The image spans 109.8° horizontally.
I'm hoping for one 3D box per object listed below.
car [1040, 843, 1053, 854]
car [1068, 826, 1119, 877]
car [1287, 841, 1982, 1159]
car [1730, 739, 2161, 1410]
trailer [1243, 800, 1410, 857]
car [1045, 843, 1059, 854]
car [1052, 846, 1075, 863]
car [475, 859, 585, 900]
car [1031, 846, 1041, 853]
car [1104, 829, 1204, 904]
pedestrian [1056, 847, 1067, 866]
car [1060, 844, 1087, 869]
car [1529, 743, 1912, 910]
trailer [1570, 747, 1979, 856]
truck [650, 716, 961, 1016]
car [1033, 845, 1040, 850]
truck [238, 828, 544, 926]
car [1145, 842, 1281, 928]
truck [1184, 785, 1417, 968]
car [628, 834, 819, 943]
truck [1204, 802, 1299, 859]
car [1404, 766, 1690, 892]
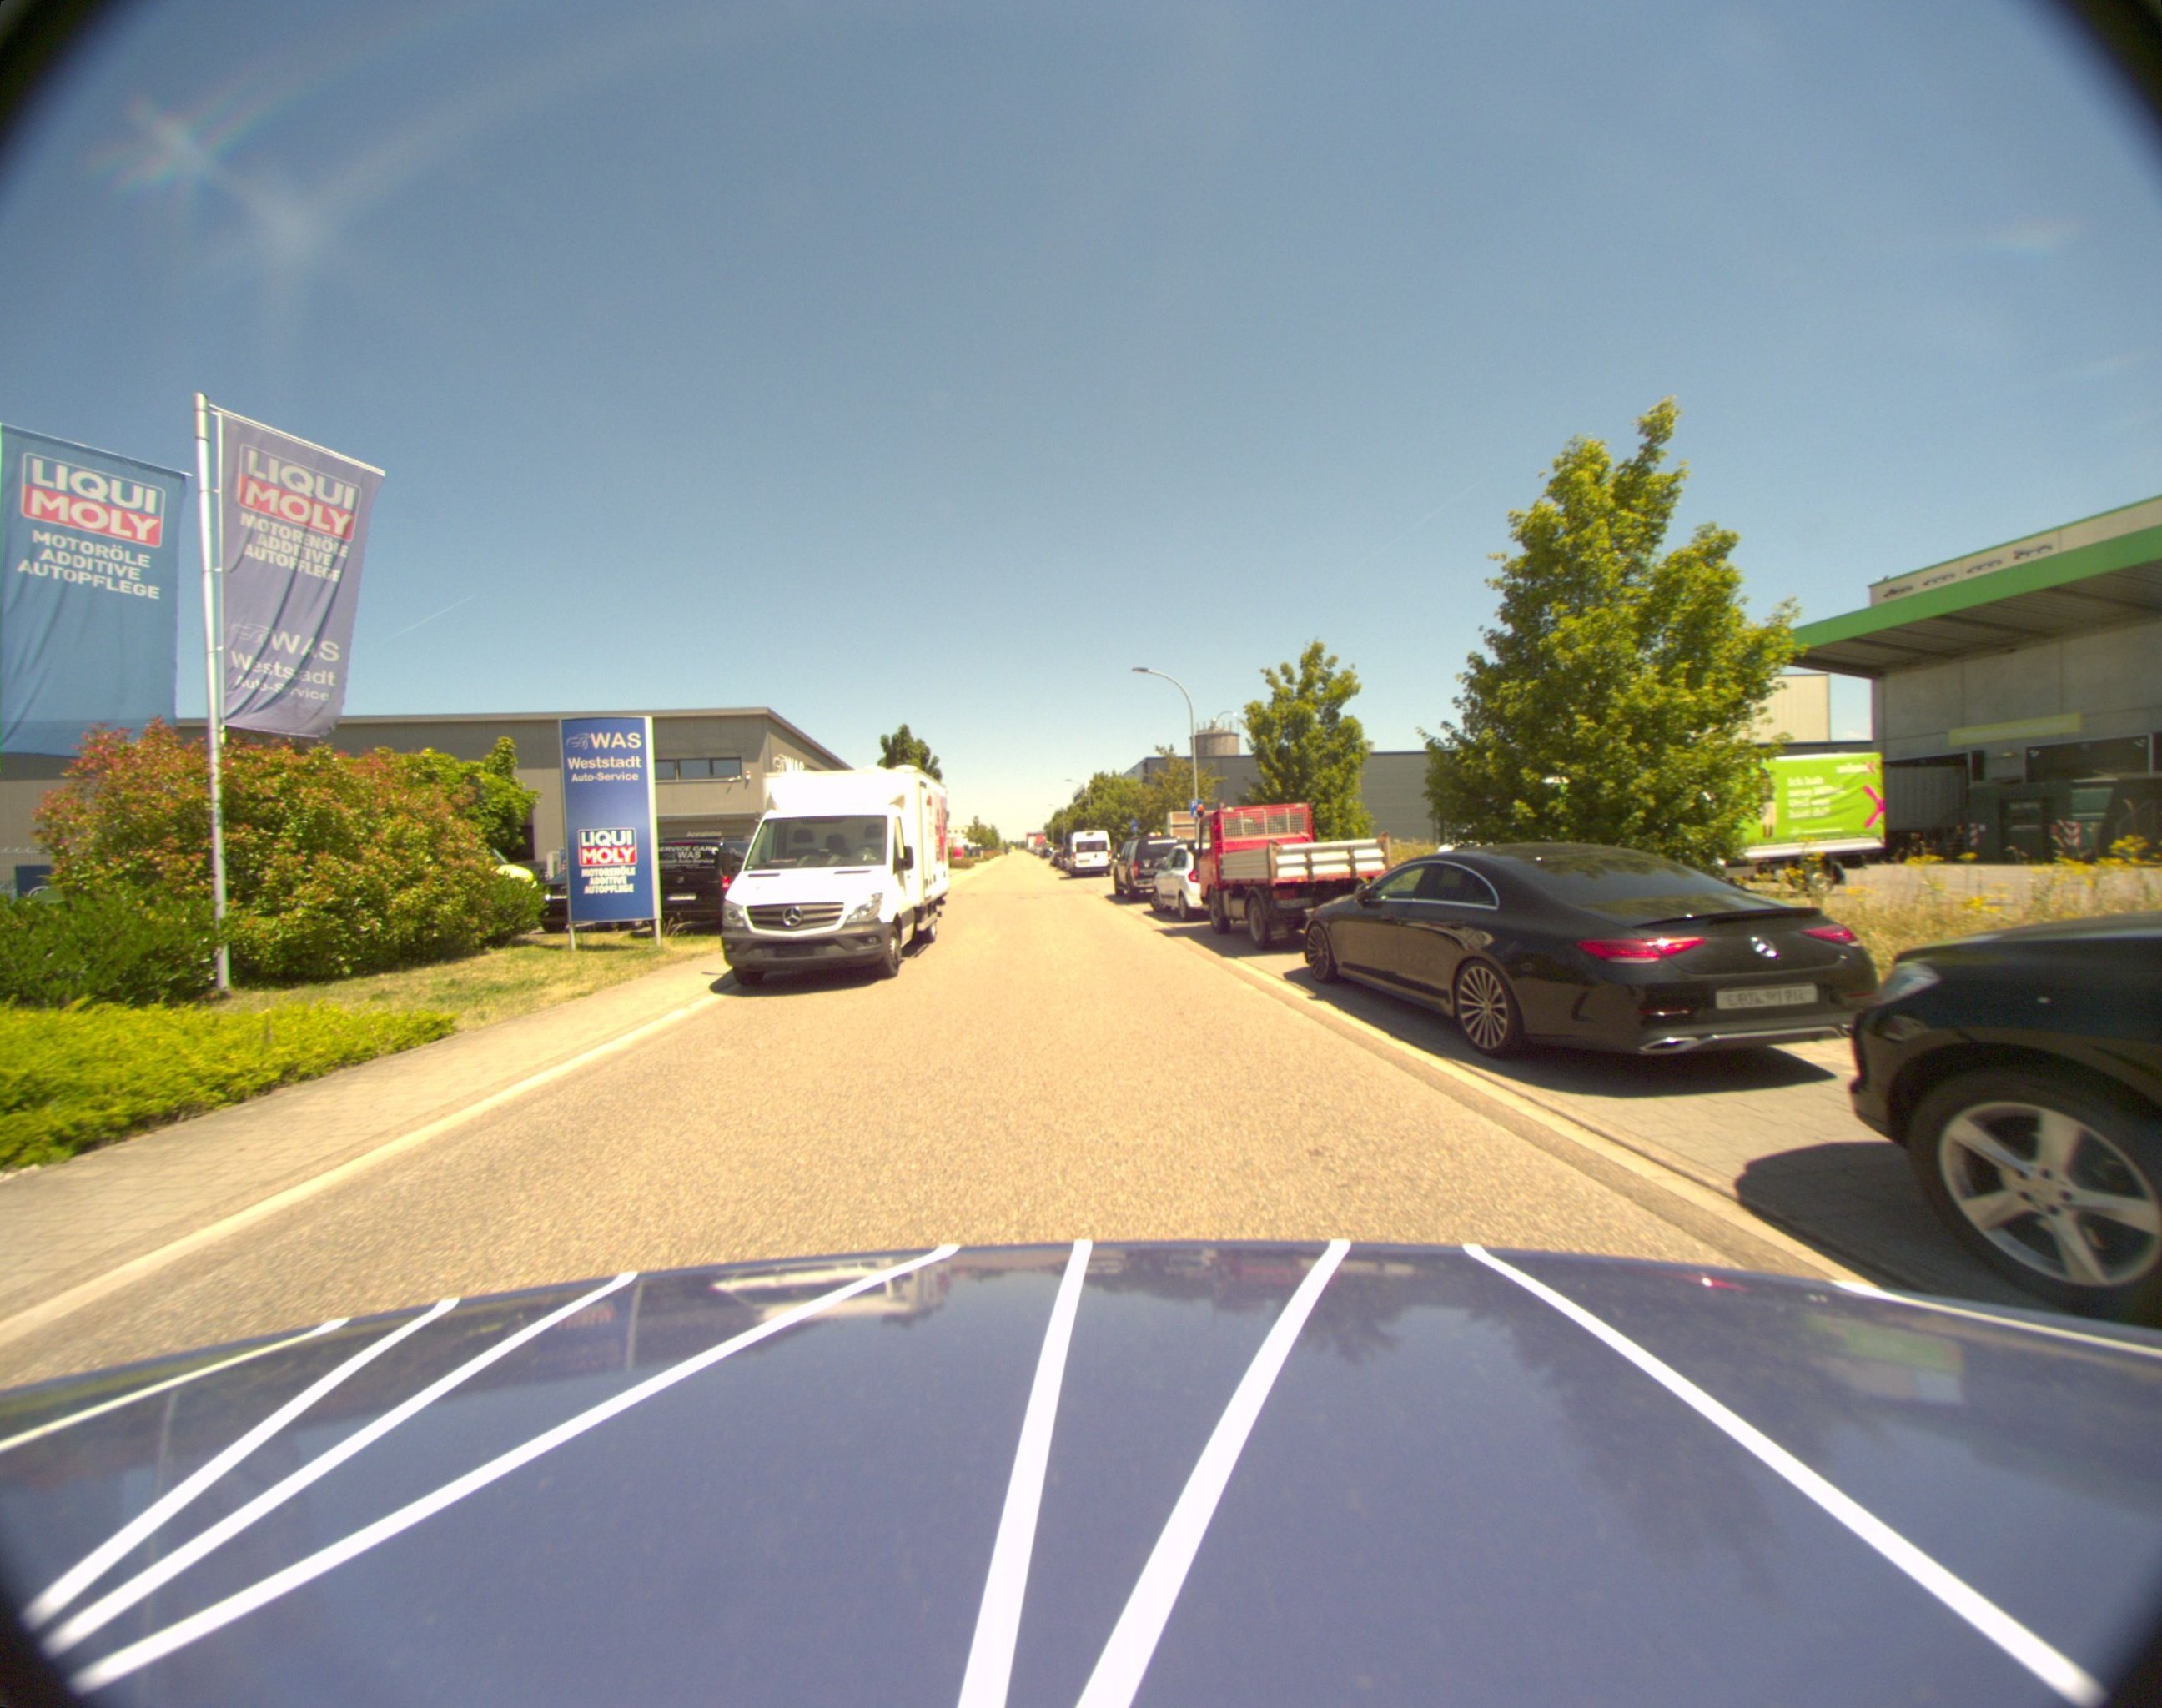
[{"bbox_3d":[-5.709,-0.951,126.043,1.799,1.701,3.828,-4,1,-5],"label":"car"},{"bbox_3d":[0.640,-0.176,43.719,2.329,2.584,6.082,-4,1,-3],"label":"car"},{"bbox_3d":[3.426,0.681,6.132,1.857,1.435,4.750,-4,1,-4],"label":"car"},{"bbox_3d":[3.782,0.539,0.695,1.856,1.748,4.984,-4,1,-4],"label":"car"},{"bbox_3d":[19.009,-1.989,58.674,12.544,3.948,3.152,-2,1,-16],"label":"trailer"},{"bbox_3d":[-4.417,-0.852,115.420,1.799,1.638,3.828,-4,1,-5],"label":"car"},{"bbox_3d":[-1.724,0.031,72.812,1.799,1.477,4.449,-4,1,-5],"label":"car"},{"bbox_3d":[-20.251,0.878,28.097,1.590,1.298,3.568,-1,1,-3],"label":"car"},{"bbox_3d":[-9.263,-0.914,156.797,1.799,1.319,3.828,-4,1,-5],"label":"car"},{"bbox_3d":[2.019,0.300,22.872,1.979,1.890,5.399,-4,1,-4],"label":"car"},{"bbox_3d":[-1.623,0.225,63.497,0.681,1.559,0.533,-2,2,-21],"label":"pedestrian"},{"bbox_3d":[-0.631,0.179,60.388,1.836,1.800,4.080,-4,1,-3],"label":"car"},{"bbox_3d":[12.989,-0.563,15.713,5.991,2.909,2.519,-3,1,-5],"label":"car"},{"bbox_3d":[29.201,-2.193,32.289,15.365,4.064,3.217,-2,1,-5],"label":"trailer"},{"bbox_3d":[-3.517,0.083,11.693,2.464,3.187,6.879,-2,1,-3],"label":"truck"},{"bbox_3d":[-12.747,-1.740,218.883,1.799,1.319,3.828,-4,1,-5],"label":"car"},{"bbox_3d":[-18.314,0.546,20.448,5.950,2.357,2.179,-1,1,-4],"label":"truck"},{"bbox_3d":[2.734,0.575,16.615,1.857,1.542,3.764,-4,1,-6],"label":"car"},{"bbox_3d":[3.125,0.260,11.982,1.857,2.210,4.643,-4,1,-5],"label":"truck"},{"bbox_3d":[-7.691,0.621,17.081,1.999,2.002,5.334,-2,1,-4],"label":"car"},{"bbox_3d":[12.729,-1.722,56.857,6.057,3.948,3.152,-3,1,-16],"label":"truck"},{"bbox_3d":[11.989,-0.637,19.835,5.991,2.808,2.519,-3,1,-5],"label":"car"}]
